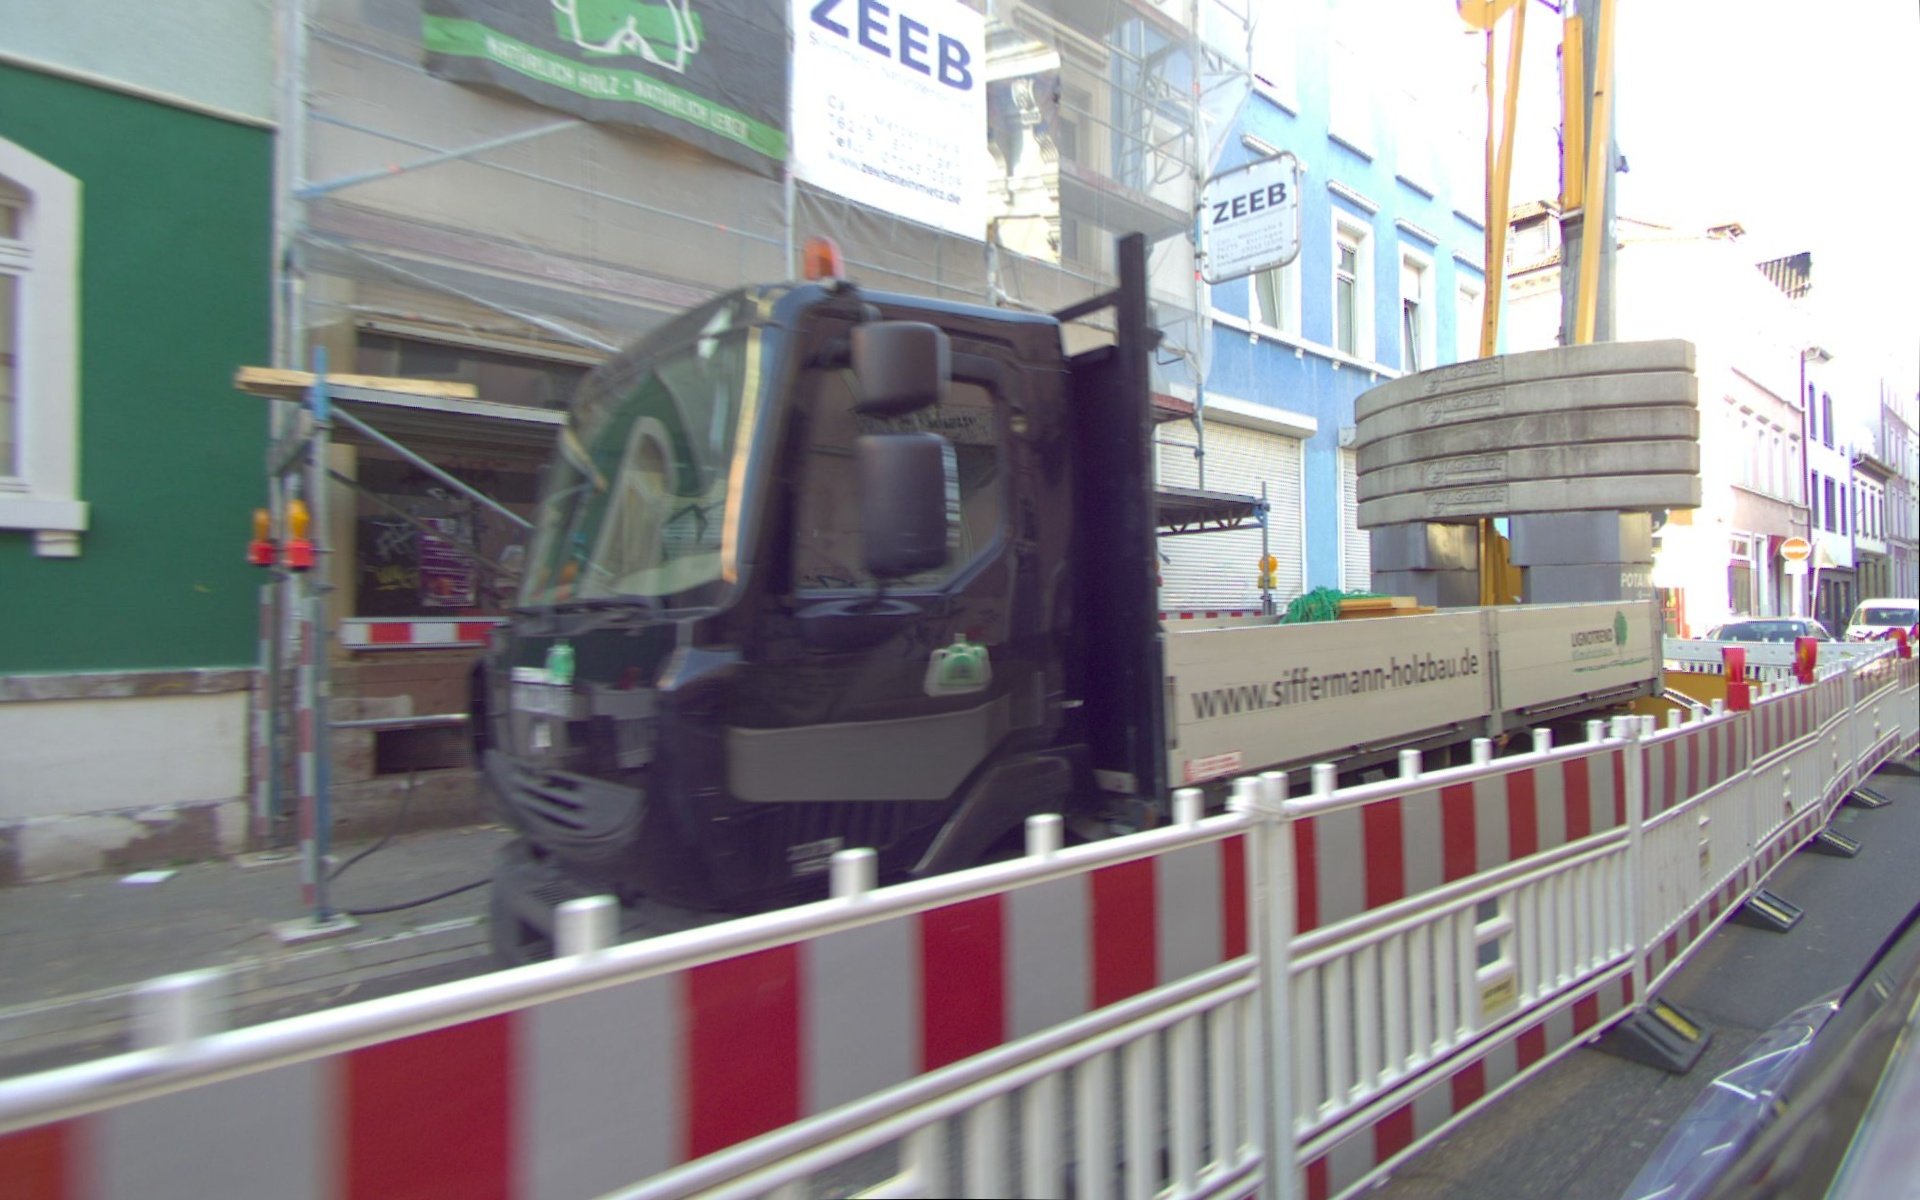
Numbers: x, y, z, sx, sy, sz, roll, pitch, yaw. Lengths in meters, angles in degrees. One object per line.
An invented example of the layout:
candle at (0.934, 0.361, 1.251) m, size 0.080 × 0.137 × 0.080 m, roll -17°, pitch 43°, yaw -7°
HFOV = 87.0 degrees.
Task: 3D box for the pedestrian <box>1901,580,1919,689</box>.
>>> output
pedestrian at (16.848, 0.582, 17.257) m, size 0.765 × 1.873 × 0.772 m, roll -2°, pitch -2°, yaw -2°

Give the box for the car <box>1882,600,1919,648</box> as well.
car at (31.268, 0.753, 32.827) m, size 3.814 × 1.426 × 1.611 m, roll -1°, pitch 1°, yaw -41°

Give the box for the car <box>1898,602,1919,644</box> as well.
car at (35.046, 0.815, 36.256) m, size 3.814 × 1.413 × 1.734 m, roll -1°, pitch 1°, yaw -41°

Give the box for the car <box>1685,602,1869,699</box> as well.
car at (14.062, 0.792, 17.348) m, size 3.964 × 1.452 × 1.774 m, roll 0°, pitch -2°, yaw -41°

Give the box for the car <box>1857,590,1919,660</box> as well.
car at (27.062, 0.647, 28.809) m, size 4.294 × 1.839 × 1.751 m, roll -1°, pitch 1°, yaw -41°

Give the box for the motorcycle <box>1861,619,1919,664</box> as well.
motorcycle at (24.519, 1.070, 26.531) m, size 1.956 × 1.100 × 0.721 m, roll -1°, pitch -2°, yaw -30°

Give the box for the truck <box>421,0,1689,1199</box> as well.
truck at (1.336, 0.026, 5.635) m, size 7.263 × 2.850 × 2.665 m, roll -1°, pitch -2°, yaw -40°
